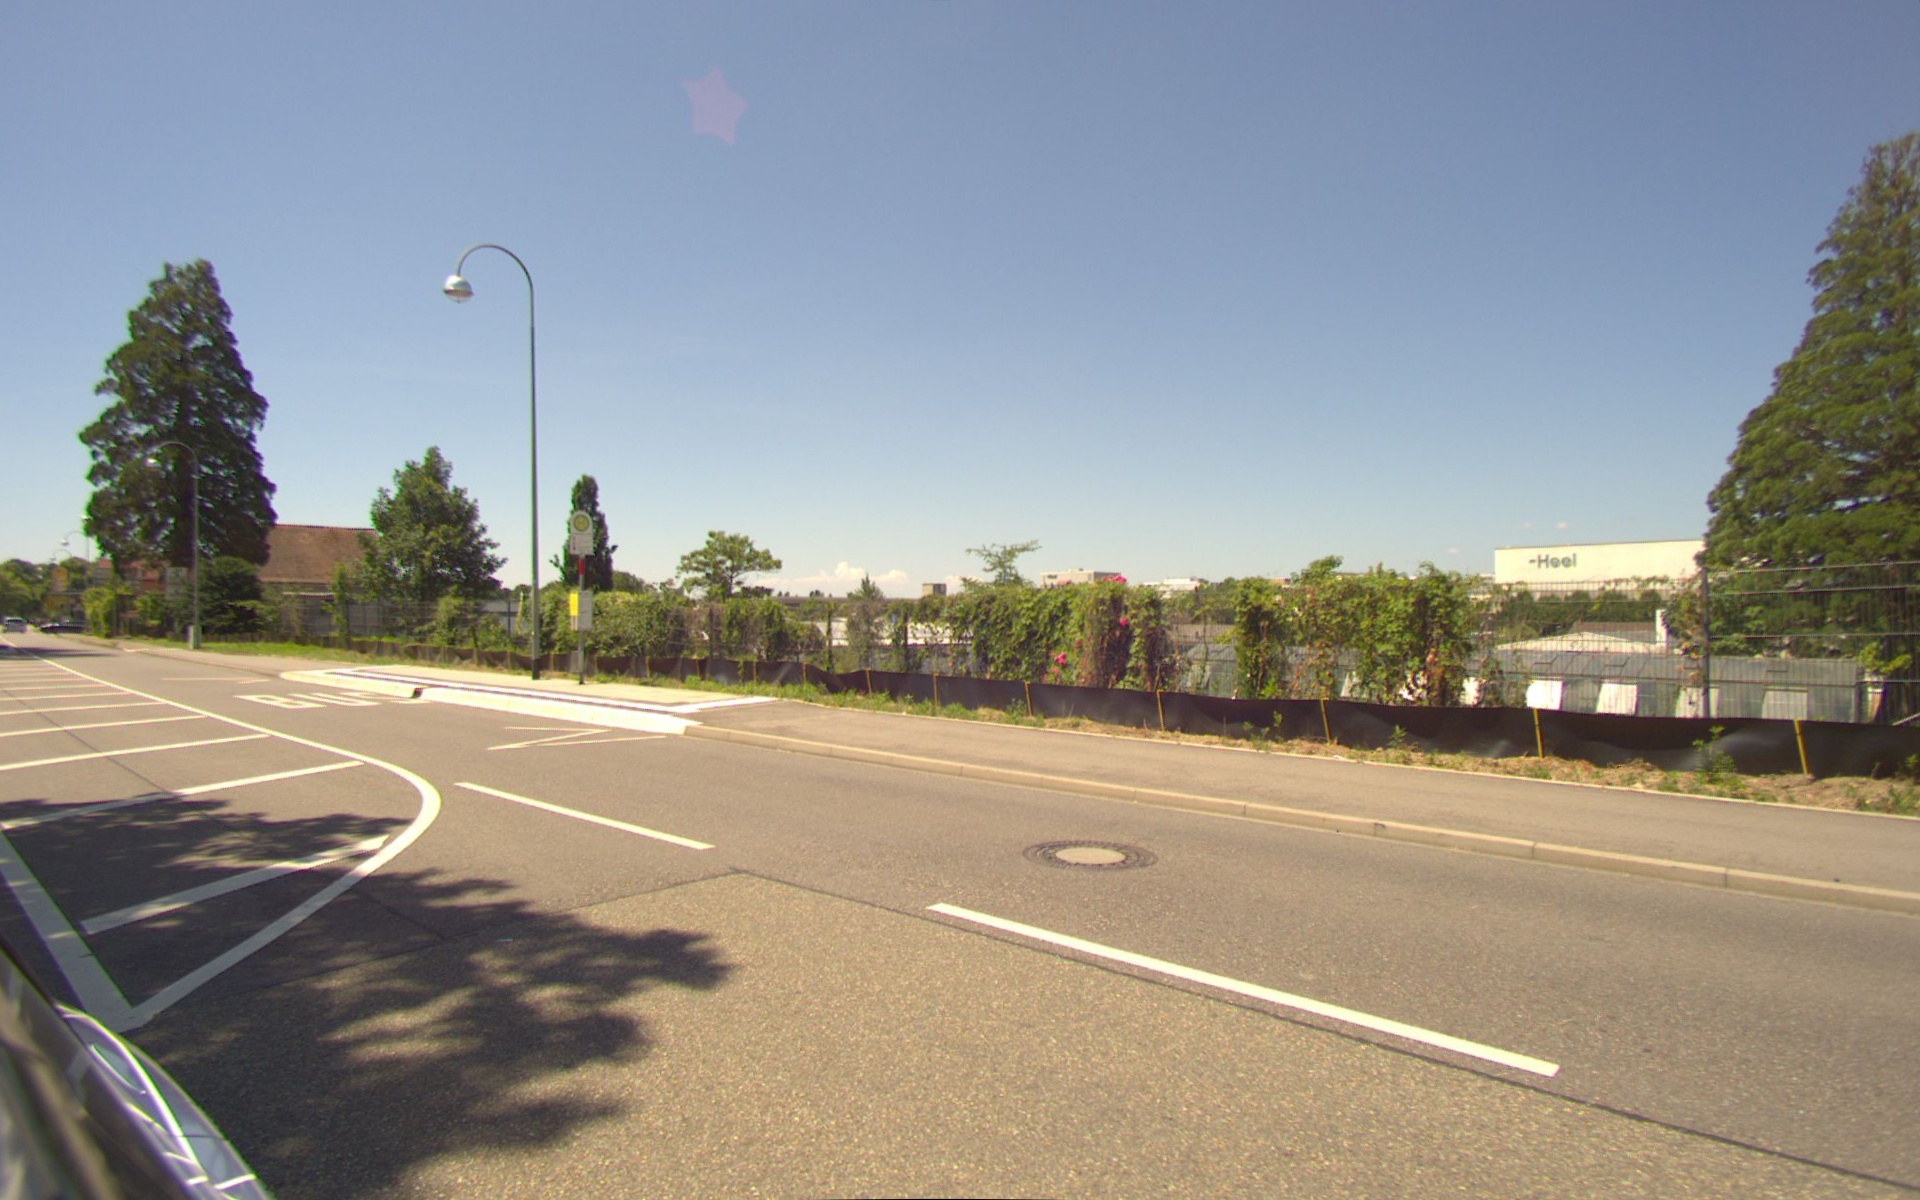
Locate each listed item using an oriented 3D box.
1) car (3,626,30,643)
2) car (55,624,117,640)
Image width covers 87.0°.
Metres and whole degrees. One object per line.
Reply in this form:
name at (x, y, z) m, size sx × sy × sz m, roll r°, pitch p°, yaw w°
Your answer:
car at (-99.691, 3.626, 106.889) m, size 4.690 × 1.657 × 1.763 m, roll -1°, pitch -4°, yaw 44°
car at (-86.505, 3.181, 100.248) m, size 4.246 × 1.561 × 1.891 m, roll 1°, pitch -2°, yaw -20°
